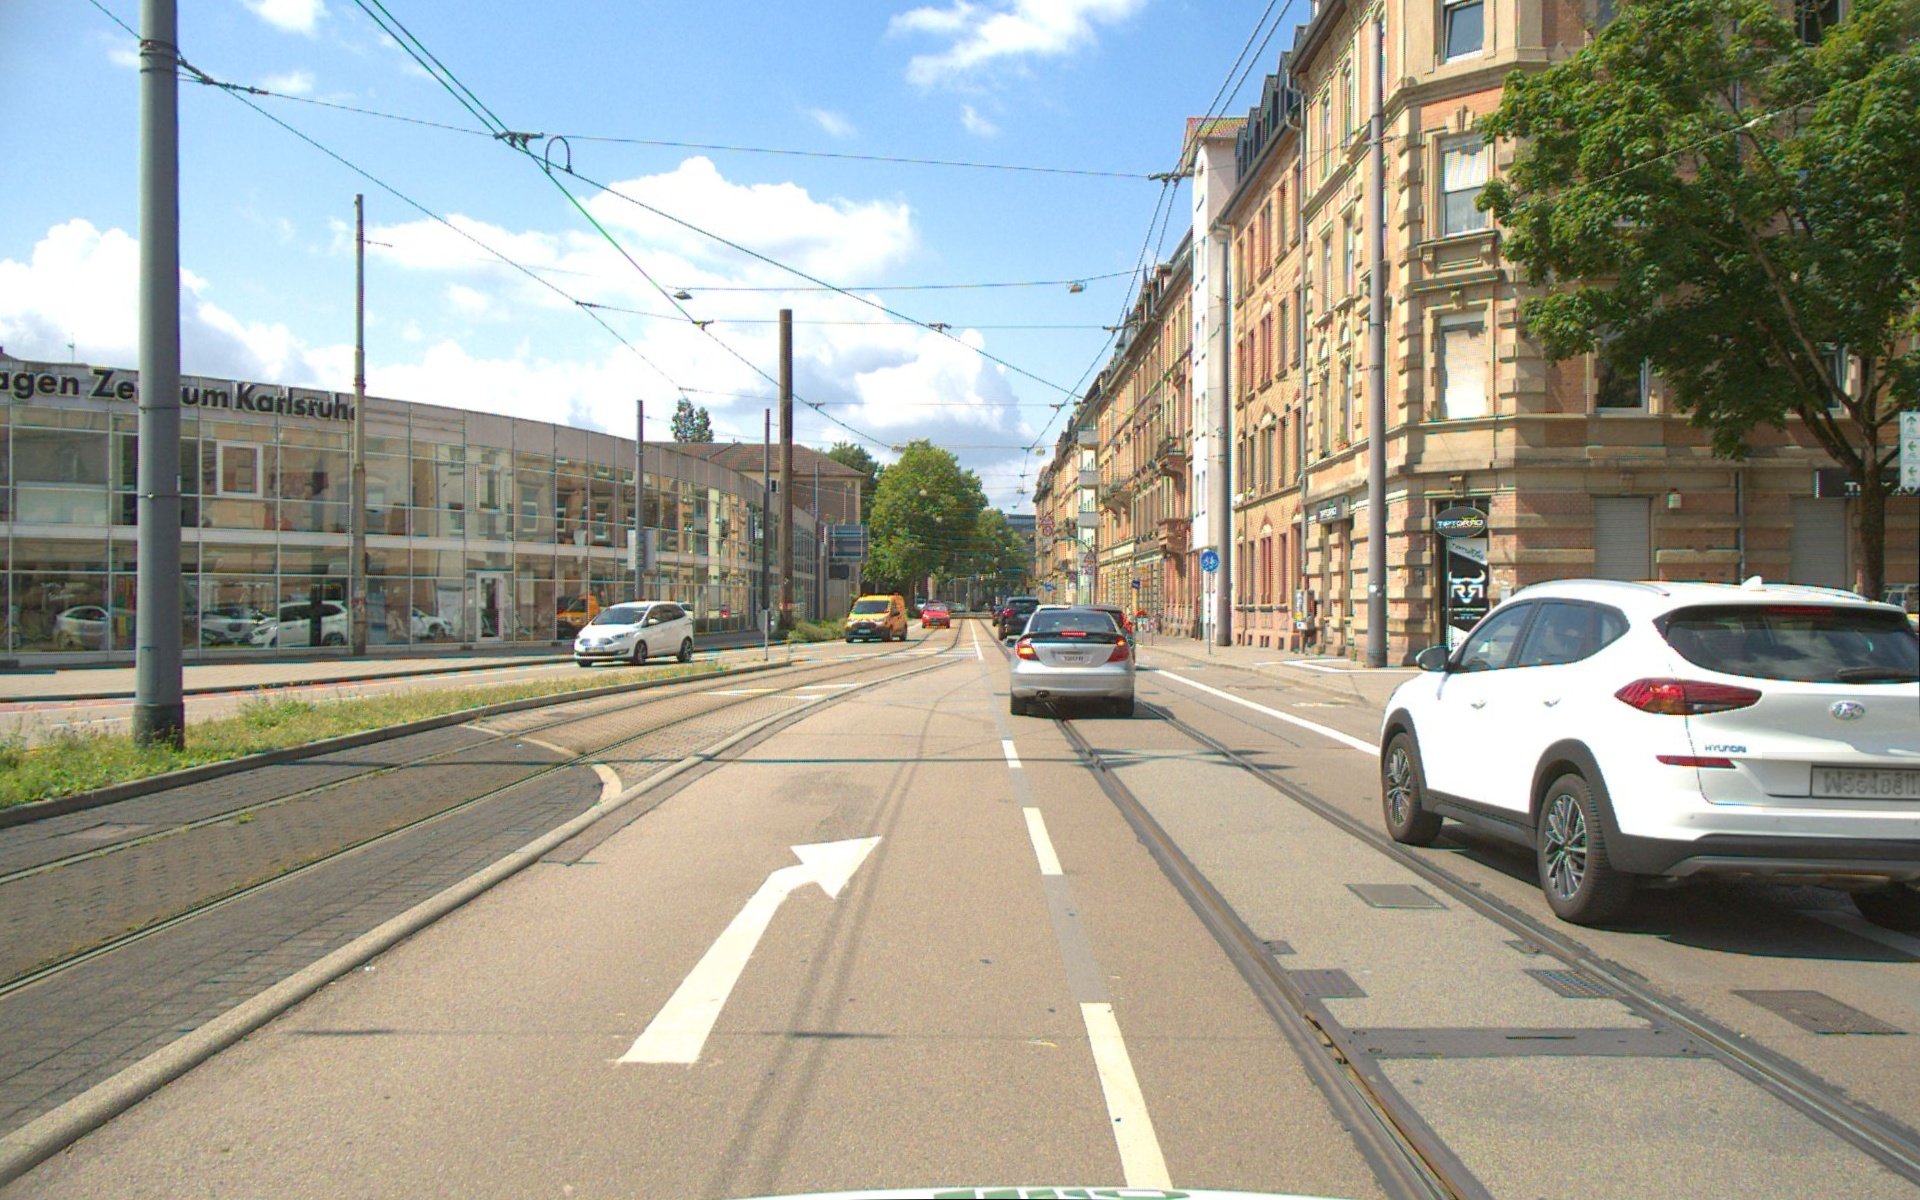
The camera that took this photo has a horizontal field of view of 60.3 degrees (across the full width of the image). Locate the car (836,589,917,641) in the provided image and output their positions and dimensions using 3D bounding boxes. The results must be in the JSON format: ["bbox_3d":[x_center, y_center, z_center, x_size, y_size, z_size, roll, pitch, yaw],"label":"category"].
[{"bbox_3d":[-3.205,0.548,64.585,1.870,1.898,4.371,-2,0,15],"label":"car"}]

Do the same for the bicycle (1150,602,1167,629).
[{"bbox_3d":[9.258,0.710,77.140,0.574,1.199,2.205,-1,0,1],"label":"bicycle"}]

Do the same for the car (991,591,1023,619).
[{"bbox_3d":[3.206,0.326,112.561,1.953,1.892,3.999,-1,0,-1],"label":"car"}]

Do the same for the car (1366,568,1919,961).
[{"bbox_3d":[3.793,0.730,9.215,1.815,1.662,4.178,1,0,-3],"label":"car"}]

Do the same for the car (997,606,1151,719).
[{"bbox_3d":[1.523,0.813,23.488,1.778,1.445,4.186,-1,0,-2],"label":"car"}]

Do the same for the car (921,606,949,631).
[{"bbox_3d":[-1.485,1.101,100.711,1.667,1.453,3.901,-1,0,0],"label":"car"}]

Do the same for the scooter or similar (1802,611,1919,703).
[{"bbox_3d":[12.723,0.783,23.273,0.929,1.224,1.388,-1,0,-6],"label":"scooter or similar"}]

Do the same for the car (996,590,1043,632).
[{"bbox_3d":[2.452,0.454,68.859,1.777,1.691,4.085,-1,0,0],"label":"car"}]

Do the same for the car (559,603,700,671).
[{"bbox_3d":[-8.738,0.946,44.120,1.729,1.632,4.496,-2,0,17],"label":"car"}]

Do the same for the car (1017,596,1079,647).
[{"bbox_3d":[2.818,0.668,53.574,1.777,1.551,3.955,-1,0,0],"label":"car"}]

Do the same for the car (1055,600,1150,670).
[{"bbox_3d":[3.326,0.785,39.208,1.778,1.551,4.084,0,0,-2],"label":"car"}]
